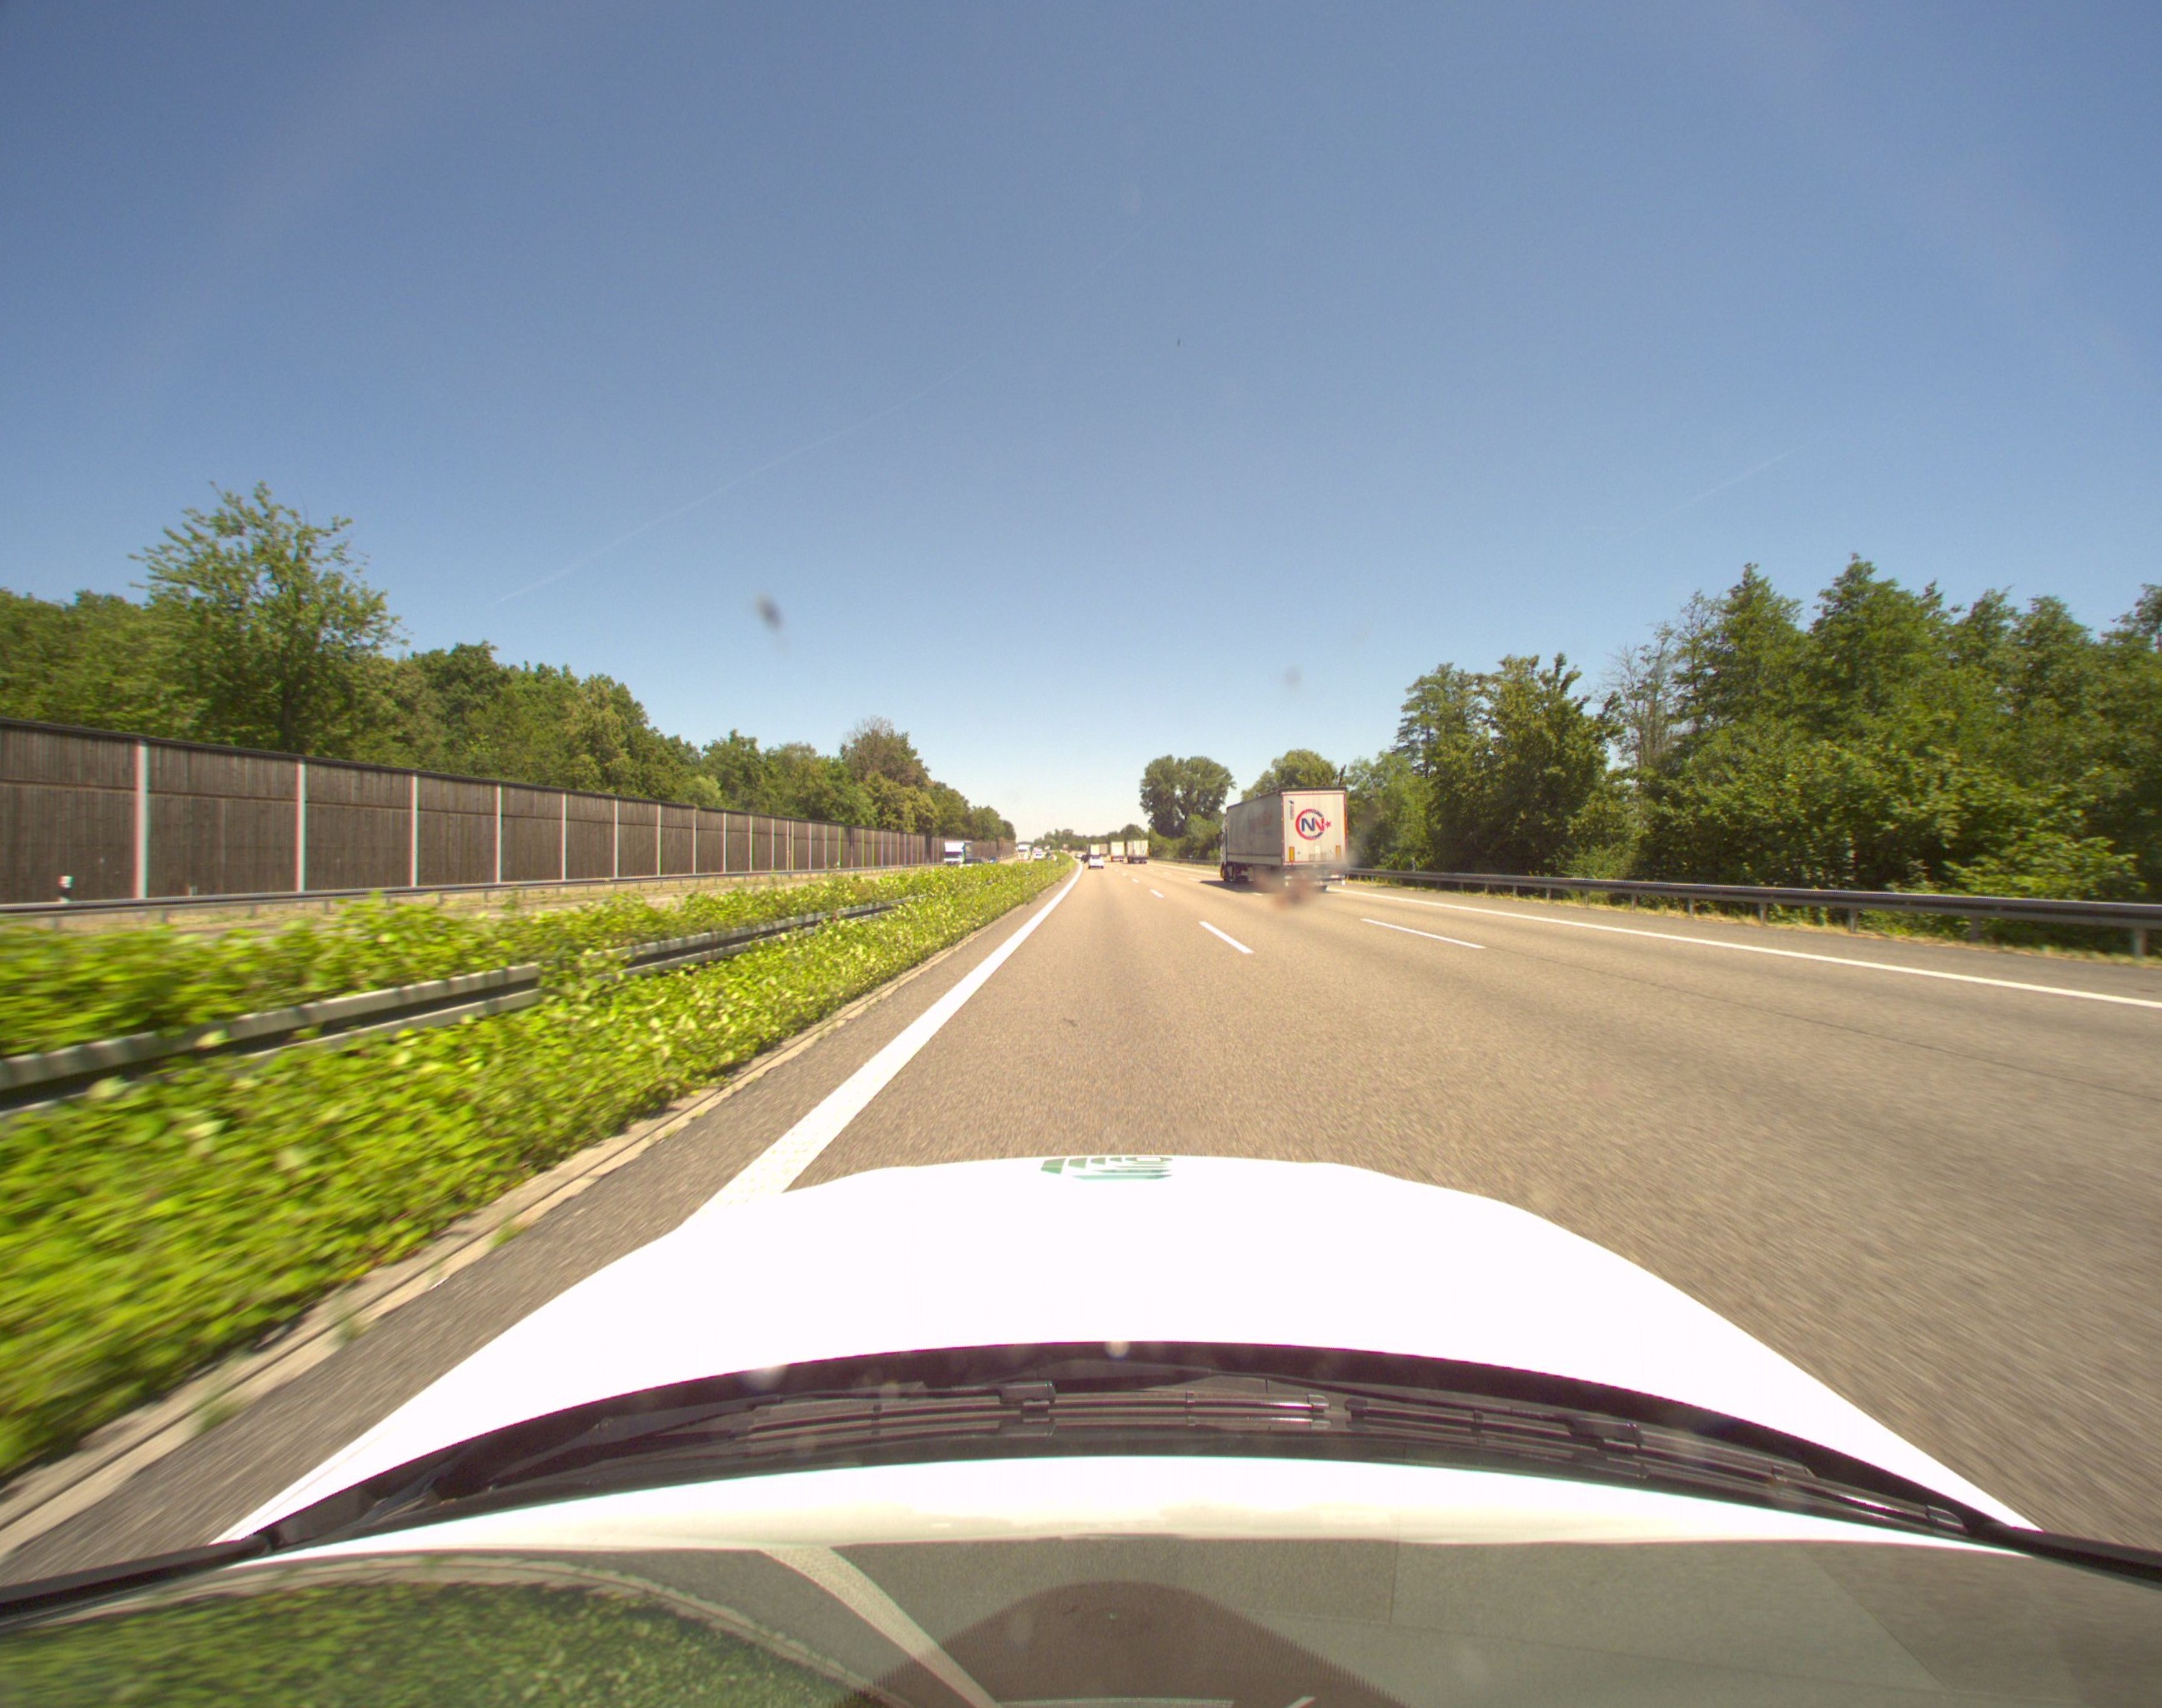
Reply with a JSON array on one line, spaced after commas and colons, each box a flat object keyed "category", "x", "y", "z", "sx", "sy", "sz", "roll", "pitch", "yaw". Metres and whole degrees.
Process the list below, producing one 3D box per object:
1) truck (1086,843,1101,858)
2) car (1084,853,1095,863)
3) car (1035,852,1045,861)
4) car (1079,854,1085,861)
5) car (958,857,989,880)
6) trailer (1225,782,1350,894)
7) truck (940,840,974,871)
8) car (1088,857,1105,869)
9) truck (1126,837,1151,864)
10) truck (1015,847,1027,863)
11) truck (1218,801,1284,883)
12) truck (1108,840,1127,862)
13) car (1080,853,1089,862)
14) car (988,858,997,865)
[{"category": "truck", "x": 3.674, "y": -1.040, "z": 244.985, "sx": 3.574, "sy": 4.311, "sz": 12.170, "roll": -1, "pitch": 0, "yaw": -4}, {"category": "car", "x": 1.548, "y": 0.801, "z": 153.116, "sx": 1.988, "sy": 1.772, "sz": 3.998, "roll": -1, "pitch": 0, "yaw": -1}, {"category": "car", "x": -9.164, "y": 0.509, "z": 181.840, "sx": 1.920, "sy": 1.945, "sz": 4.609, "roll": -1, "pitch": 0, "yaw": 0}, {"category": "car", "x": 0.200, "y": 0.995, "z": 233.254, "sx": 1.718, "sy": 1.783, "sz": 3.999, "roll": -1, "pitch": 0, "yaw": -1}, {"category": "car", "x": -7.894, "y": 1.026, "z": 60.122, "sx": 1.577, "sy": 1.588, "sz": 4.002, "roll": -1, "pitch": 0, "yaw": 2}, {"category": "trailer", "x": 9.170, "y": -0.600, "z": 38.271, "sx": 2.614, "sy": 4.261, "sz": 14.065, "roll": -1, "pitch": 0, "yaw": 2}, {"category": "truck", "x": -15.380, "y": 0.154, "z": 101.361, "sx": 2.824, "sy": 3.609, "sz": 8.743, "roll": -1, "pitch": 0, "yaw": 0}, {"category": "car", "x": 1.855, "y": 1.038, "z": 97.226, "sx": 1.706, "sy": 1.369, "sz": 3.382, "roll": -1, "pitch": 0, "yaw": 7}, {"category": "truck", "x": 9.633, "y": -0.594, "z": 137.552, "sx": 3.481, "sy": 4.311, "sz": 10.987, "roll": -1, "pitch": 0, "yaw": 0}, {"category": "truck", "x": -15.553, "y": 0.235, "z": 212.193, "sx": 2.722, "sy": 4.192, "sz": 6.034, "roll": -1, "pitch": 0, "yaw": 0}, {"category": "truck", "x": 9.333, "y": -0.611, "z": 45.231, "sx": 2.596, "sy": 4.287, "sz": 5.437, "roll": -1, "pitch": 0, "yaw": 1}, {"category": "truck", "x": 7.400, "y": -0.539, "z": 167.211, "sx": 3.349, "sy": 4.311, "sz": 10.827, "roll": -1, "pitch": 0, "yaw": 0}, {"category": "car", "x": 0.694, "y": 0.713, "z": 184.599, "sx": 1.987, "sy": 2.013, "sz": 3.999, "roll": -1, "pitch": 0, "yaw": -1}, {"category": "car", "x": -15.690, "y": 1.313, "z": 145.048, "sx": 1.276, "sy": 1.255, "sz": 3.027, "roll": -1, "pitch": 0, "yaw": -1}]
